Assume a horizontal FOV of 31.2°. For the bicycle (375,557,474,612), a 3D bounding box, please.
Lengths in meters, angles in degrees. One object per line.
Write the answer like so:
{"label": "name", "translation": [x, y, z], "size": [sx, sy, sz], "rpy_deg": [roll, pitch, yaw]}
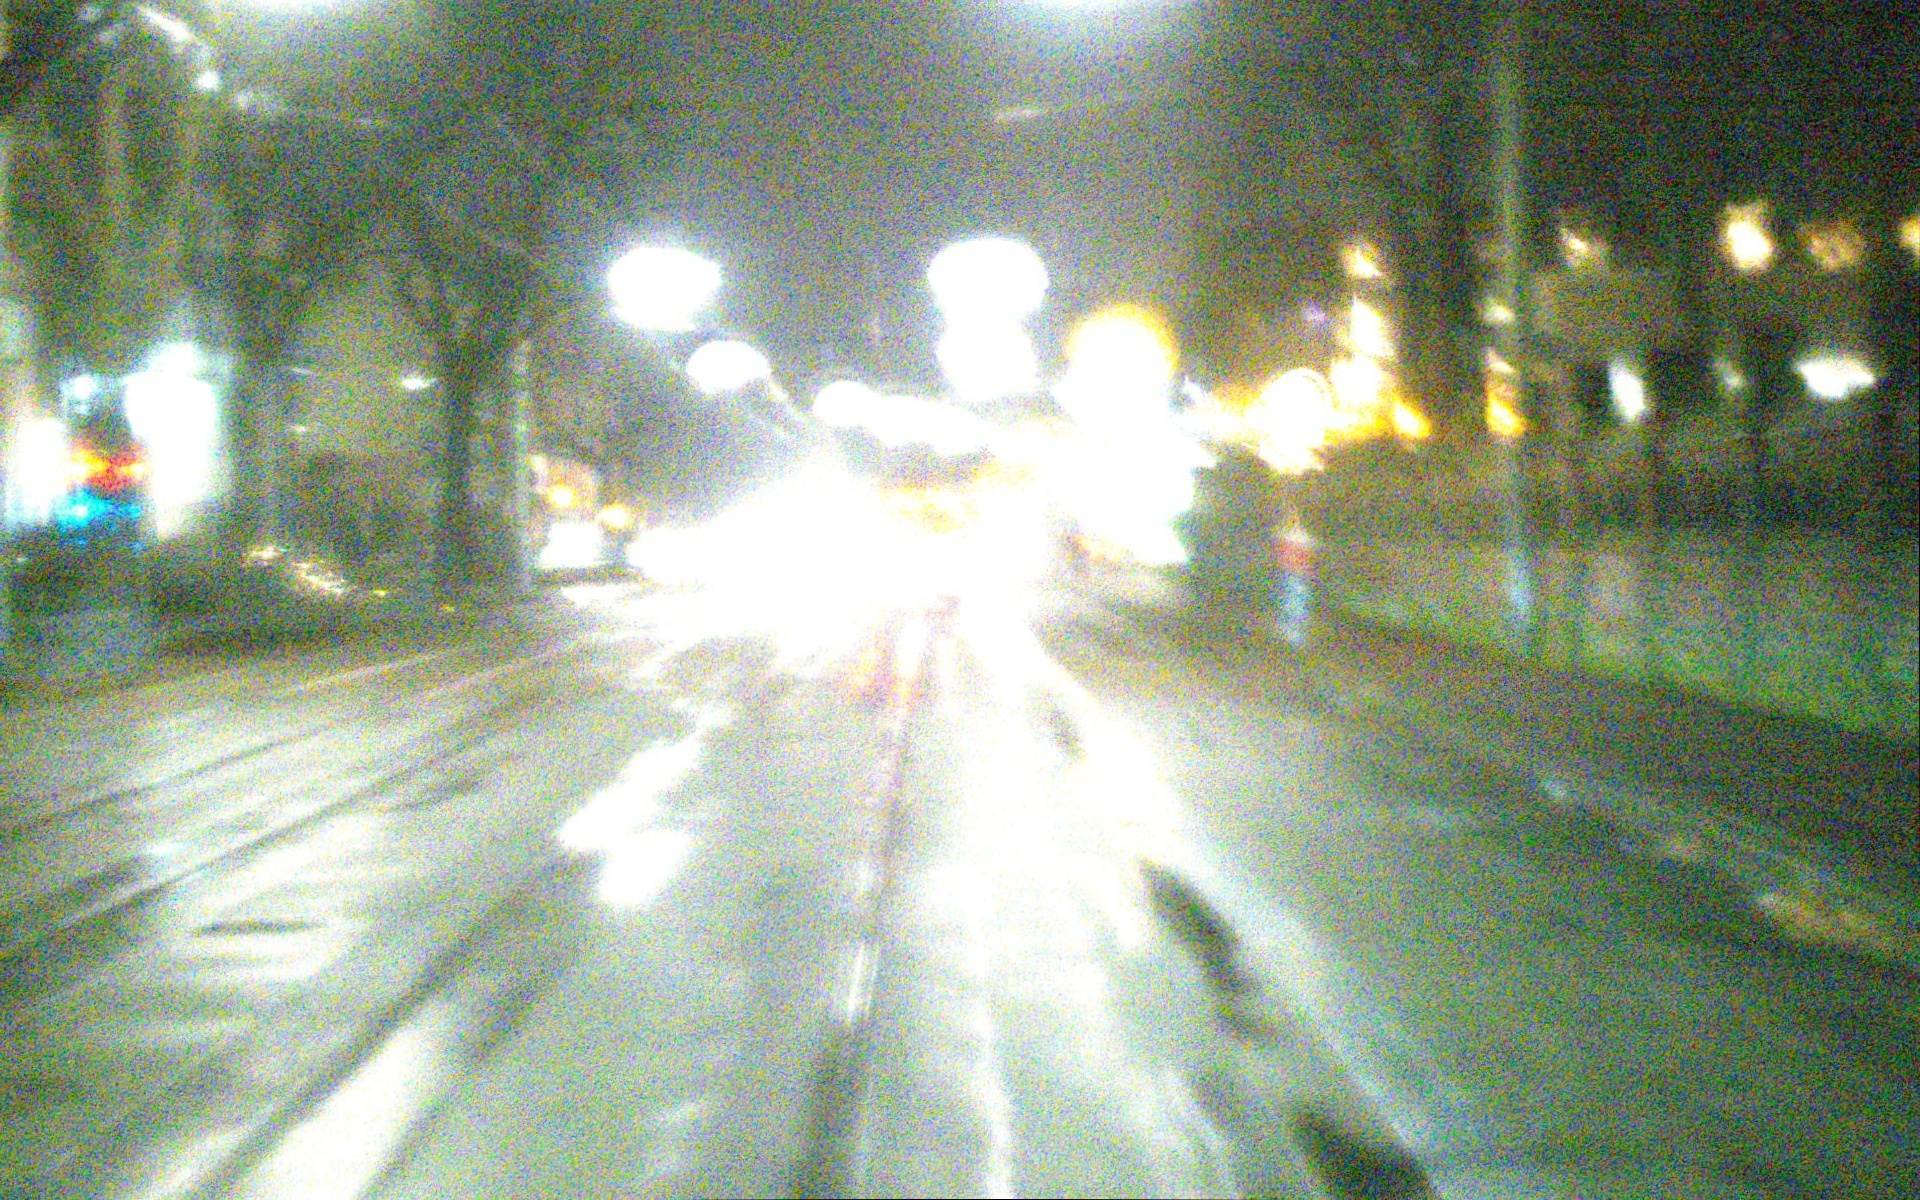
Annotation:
{"label": "bicycle", "translation": [-10.517, -0.312, 67.546], "size": [1.853, 1.074, 0.628], "rpy_deg": [0, 1, 0]}

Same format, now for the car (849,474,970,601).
{"label": "car", "translation": [-1.006, -1.184, 66.057], "size": [2.244, 2.353, 4.394], "rpy_deg": [0, 1, -2]}

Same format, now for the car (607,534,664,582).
{"label": "car", "translation": [-13.694, -1.791, 145.289], "size": [1.993, 2.007, 4.000], "rpy_deg": [0, 1, 0]}

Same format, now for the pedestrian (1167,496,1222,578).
{"label": "pedestrian", "translation": [4.853, -1.307, 71.205], "size": [0.939, 1.658, 0.994], "rpy_deg": [-3, 1, -5]}

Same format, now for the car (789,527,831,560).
{"label": "car", "translation": [-8.866, -3.342, 202.952], "size": [2.319, 1.925, 4.964], "rpy_deg": [0, 1, -4]}

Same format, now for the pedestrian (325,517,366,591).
{"label": "pedestrian", "translation": [-14.030, -1.045, 78.549], "size": [0.786, 1.681, 0.883], "rpy_deg": [0, 1, 0]}
